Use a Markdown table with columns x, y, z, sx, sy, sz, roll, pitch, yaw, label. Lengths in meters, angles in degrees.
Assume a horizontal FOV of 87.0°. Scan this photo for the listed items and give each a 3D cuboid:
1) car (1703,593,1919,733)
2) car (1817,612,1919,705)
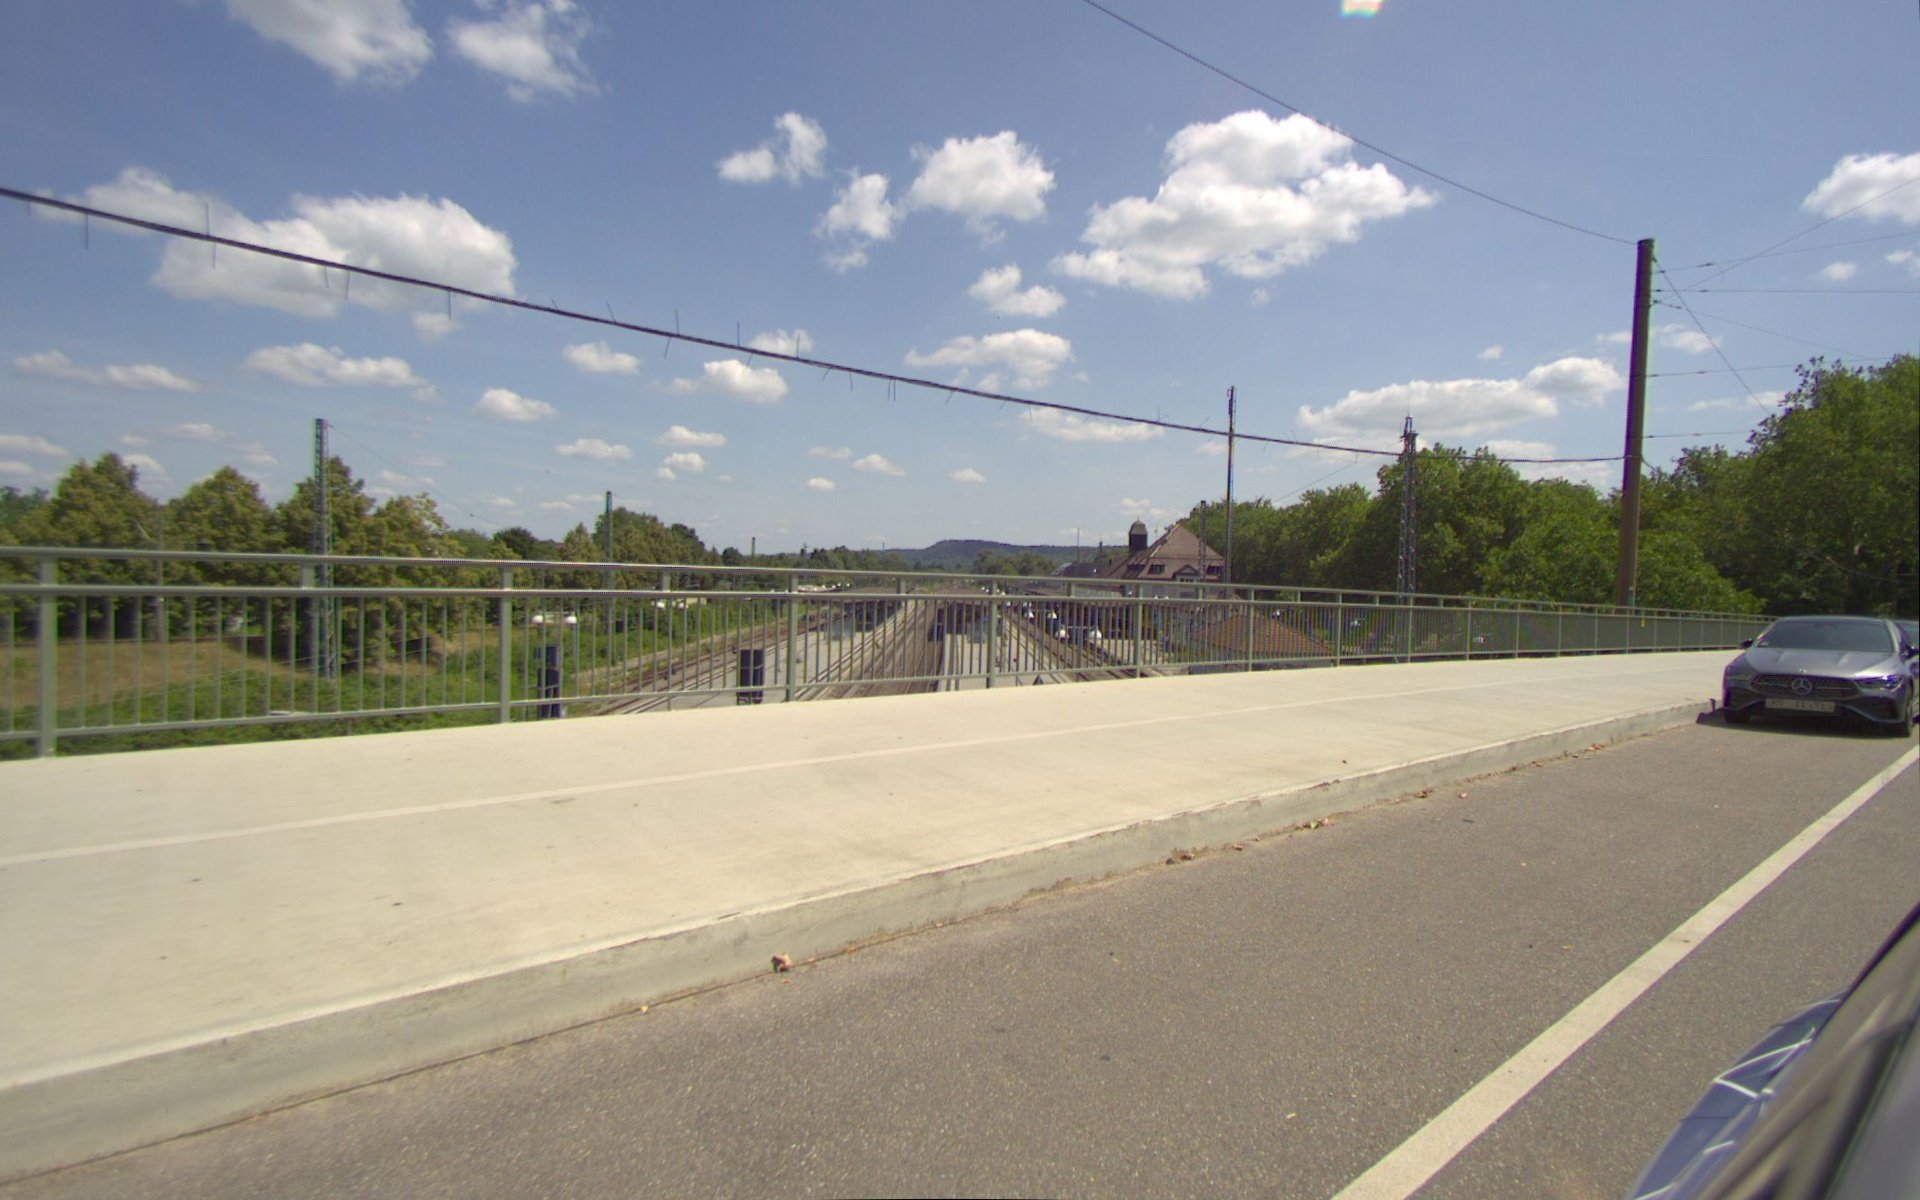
| x | y | z | sx | sy | sz | roll | pitch | yaw | label |
| --- | --- | --- | --- | --- | --- | --- | --- | --- | --- |
| 11.849 | 0.762 | 13.652 | 4.638 | 1.572 | 1.997 | 2 | -1 | -41 | car |
| 16.826 | 1.000 | 18.154 | 4.210 | 1.479 | 1.649 | 2 | -1 | -42 | car |
